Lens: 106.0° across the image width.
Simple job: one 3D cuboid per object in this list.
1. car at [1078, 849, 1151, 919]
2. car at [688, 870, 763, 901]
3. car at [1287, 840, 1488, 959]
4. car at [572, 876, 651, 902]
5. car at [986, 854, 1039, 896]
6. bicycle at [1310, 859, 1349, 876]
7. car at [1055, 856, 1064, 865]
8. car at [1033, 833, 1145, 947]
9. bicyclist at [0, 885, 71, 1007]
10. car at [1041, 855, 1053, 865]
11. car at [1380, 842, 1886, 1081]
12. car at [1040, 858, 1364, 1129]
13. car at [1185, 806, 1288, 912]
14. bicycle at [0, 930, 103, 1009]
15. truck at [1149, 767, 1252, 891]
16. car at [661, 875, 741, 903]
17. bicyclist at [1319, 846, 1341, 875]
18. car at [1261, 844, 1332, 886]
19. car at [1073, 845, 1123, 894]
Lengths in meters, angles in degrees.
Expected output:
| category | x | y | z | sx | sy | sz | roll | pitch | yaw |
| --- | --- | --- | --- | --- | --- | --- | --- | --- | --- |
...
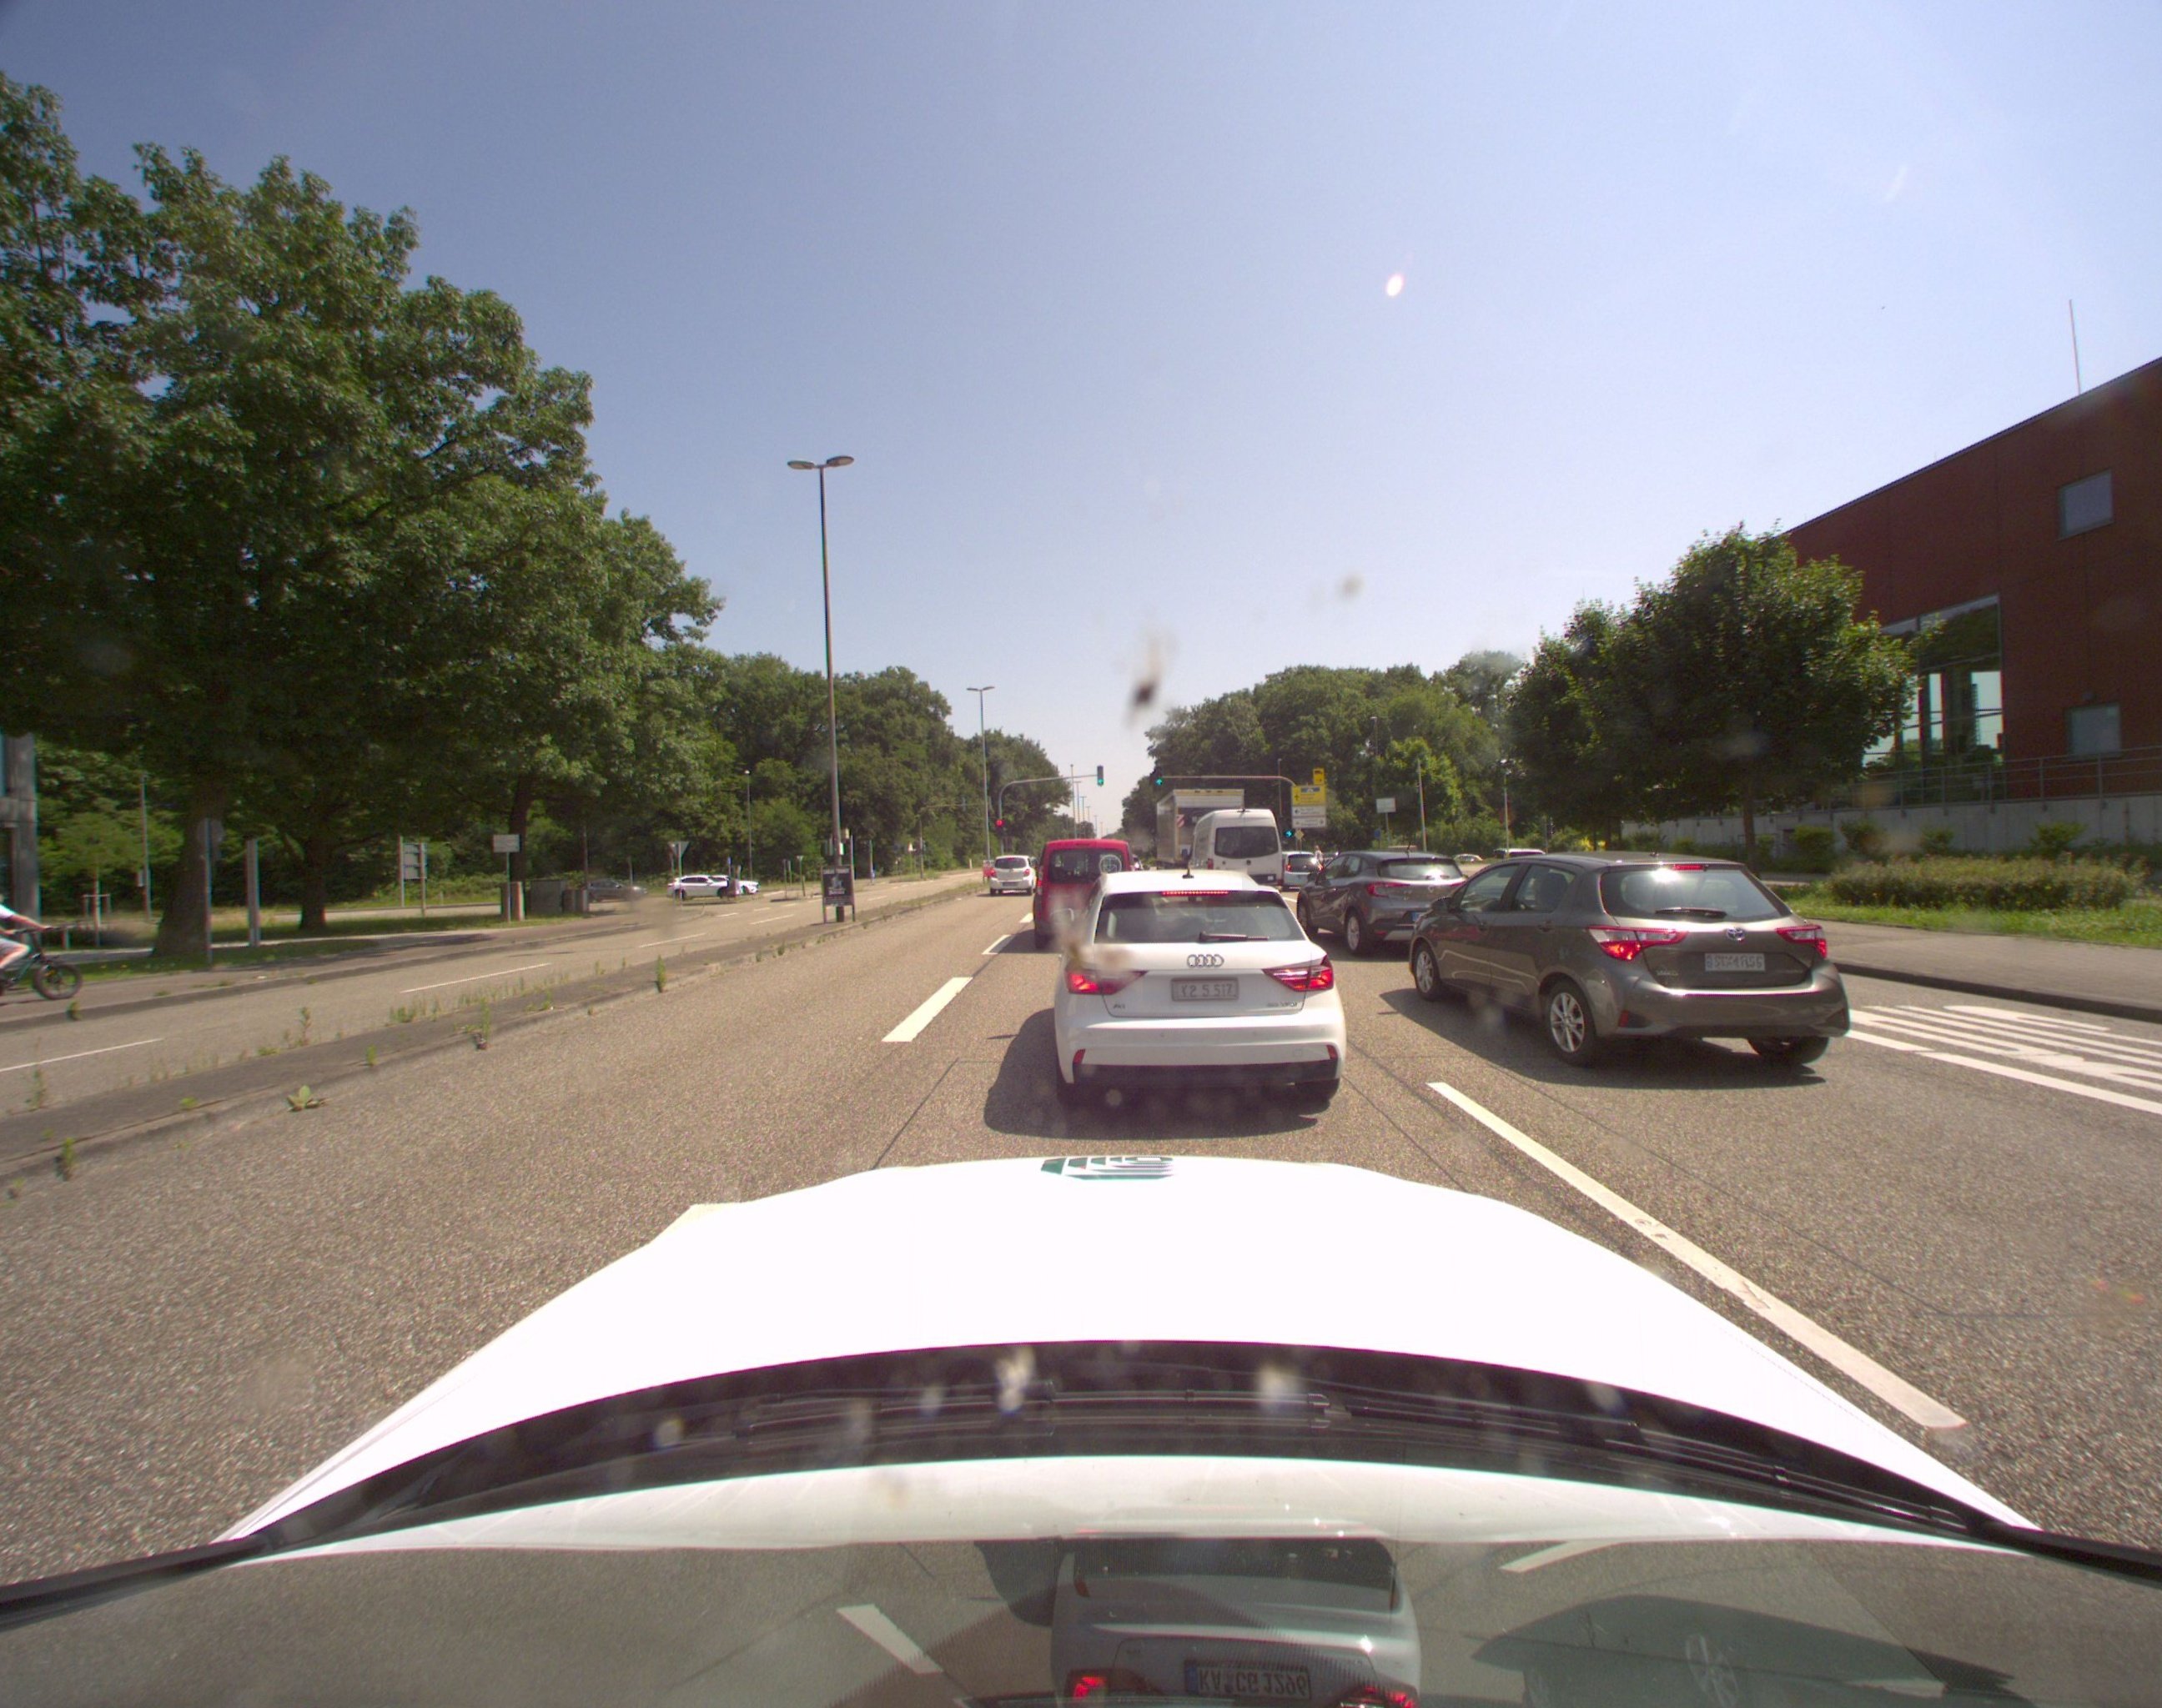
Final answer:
| category | x | y | z | sx | sy | sz | roll | pitch | yaw |
| --- | --- | --- | --- | --- | --- | --- | --- | --- | --- |
| car | 0.797 | 0.709 | 21.332 | 1.706 | 1.631 | 4.091 | -1 | 0 | 0 |
| car | -24.944 | 2.183 | 57.257 | 4.367 | 1.681 | 1.806 | -6 | 0 | -7 |
| car | 4.709 | 0.628 | 13.189 | 1.706 | 1.593 | 4.091 | -1 | 0 | 0 |
| car | -32.568 | 2.427 | 56.620 | 4.370 | 1.681 | 1.804 | 0 | -1 | -10 |
| car | -2.639 | 0.778 | 32.278 | 1.706 | 1.493 | 4.091 | -1 | 0 | 0 |
| bicycle | 12.912 | 0.688 | 42.304 | 1.821 | 0.766 | 0.599 | -2 | 0 | -9 |
| car | -4.805 | 1.441 | 182.257 | 1.824 | 1.728 | 4.001 | -2 | 0 | 1 |
| car | 0.125 | 0.562 | 14.726 | 1.706 | 1.748 | 4.091 | -1 | 0 | 0 |
| bicyclist | -14.936 | 1.272 | 11.311 | 0.605 | 1.630 | 0.924 | -2 | 0 | 1 |
| car | -6.691 | 1.199 | 159.906 | 1.987 | 1.772 | 4.205 | -2 | 0 | 1 |
| car | 4.265 | 0.684 | 7.218 | 1.706 | 1.478 | 4.091 | 1 | 0 | 0 |
| car | 0.654 | 0.755 | 6.396 | 1.706 | 1.386 | 4.091 | -1 | 0 | 0 |
| car | 4.246 | 0.121 | 23.113 | 2.024 | 2.644 | 4.845 | -1 | 0 | 1 |
| bicycle | -14.906 | 1.622 | 11.293 | 0.615 | 0.969 | 1.661 | -2 | 0 | 2 |
| truck | 4.805 | -0.899 | 35.258 | 3.077 | 4.434 | 11.584 | -1 | 0 | 2 |
| car | -24.856 | 2.275 | 53.433 | 4.366 | 1.681 | 1.806 | 0 | -1 | -7 |
| bicyclist | 12.938 | 0.341 | 42.314 | 0.826 | 1.439 | 0.597 | -2 | 0 | -10 |
| car | 8.463 | 0.415 | 32.309 | 1.706 | 1.546 | 4.091 | -1 | 0 | 0 |
| car | 0.582 | 0.539 | 30.134 | 1.706 | 1.631 | 4.091 | -1 | 0 | 0 |
